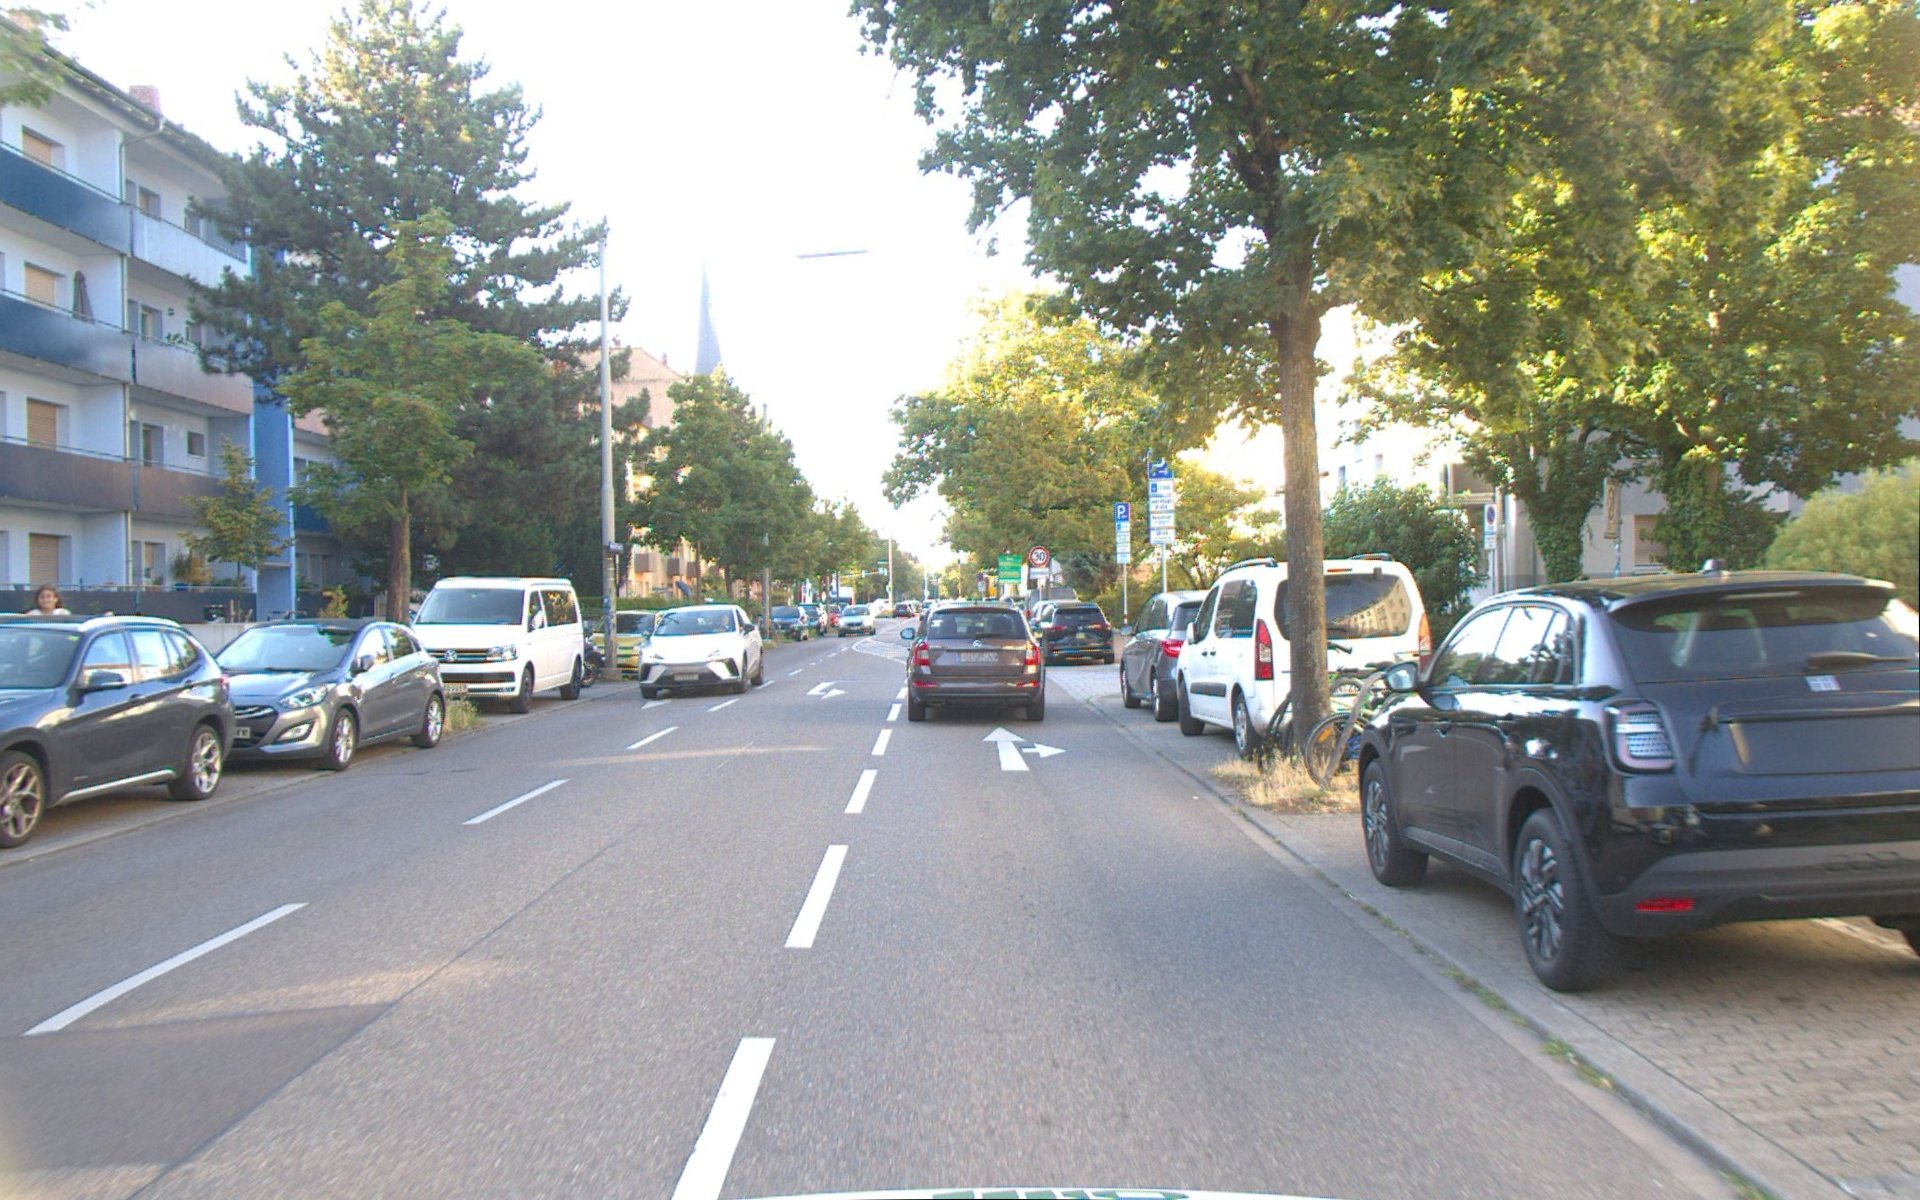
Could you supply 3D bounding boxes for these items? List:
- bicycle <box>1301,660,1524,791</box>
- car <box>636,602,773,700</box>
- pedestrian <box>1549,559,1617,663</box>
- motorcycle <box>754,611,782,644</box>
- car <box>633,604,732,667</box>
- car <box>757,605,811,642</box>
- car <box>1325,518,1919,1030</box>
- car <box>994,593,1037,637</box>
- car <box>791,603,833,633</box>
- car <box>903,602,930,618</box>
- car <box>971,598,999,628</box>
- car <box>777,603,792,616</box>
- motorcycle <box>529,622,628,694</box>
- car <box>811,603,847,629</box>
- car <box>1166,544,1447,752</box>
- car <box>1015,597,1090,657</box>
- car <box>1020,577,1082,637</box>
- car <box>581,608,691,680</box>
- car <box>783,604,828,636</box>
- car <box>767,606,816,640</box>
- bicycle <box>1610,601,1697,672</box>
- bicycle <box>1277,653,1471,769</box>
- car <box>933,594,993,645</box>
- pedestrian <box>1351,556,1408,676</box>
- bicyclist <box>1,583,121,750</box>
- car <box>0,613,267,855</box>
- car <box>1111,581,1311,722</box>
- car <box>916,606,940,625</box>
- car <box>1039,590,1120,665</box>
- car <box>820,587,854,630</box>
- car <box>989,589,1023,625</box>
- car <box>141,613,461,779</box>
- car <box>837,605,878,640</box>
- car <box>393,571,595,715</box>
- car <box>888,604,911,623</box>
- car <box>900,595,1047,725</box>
[{"bbox_3d":[3.317,0.912,12.162,1.521,0.884,0.393,-2,0,-4],"label":"bicycle"},{"bbox_3d":[-4.454,0.844,29.347,1.745,1.520,3.970,-3,0,0],"label":"car"},{"bbox_3d":[10.726,0.183,28.474,0.738,1.752,0.789,-2,0,-42],"label":"pedestrian"},{"bbox_3d":[-7.424,1.056,63.993,0.724,1.225,2.142,0,0,2],"label":"motorcycle"},{"bbox_3d":[-7.046,0.871,42.301,1.744,1.521,3.972,0,0,2],"label":"car"},{"bbox_3d":[-7.424,0.957,69.954,1.744,1.506,4.034,0,0,2],"label":"car"},{"bbox_3d":[3.028,0.580,7.740,1.718,1.691,4.252,-2,0,1],"label":"car"},{"bbox_3d":[2.282,0.598,68.353,1.718,1.745,4.000,0,0,1],"label":"car"},{"bbox_3d":[-7.872,0.941,88.165,1.744,1.506,3.972,0,0,2],"label":"car"},{"bbox_3d":[-4.881,1.114,184.843,1.963,1.780,3.979,-1,0,-18],"label":"car"},{"bbox_3d":[1.562,0.820,104.568,1.718,1.837,4.000,0,0,0],"label":"car"},{"bbox_3d":[-25.350,1.420,238.391,1.956,1.780,3.993,-1,0,-8],"label":"car"},{"bbox_3d":[-7.227,1.084,31.461,0.645,1.225,2.332,-2,0,20],"label":"motorcycle"},{"bbox_3d":[-7.795,0.943,98.637,1.744,1.506,3.972,0,0,2],"label":"car"},{"bbox_3d":[3.365,0.428,16.929,1.764,1.840,4.421,0,0,-3],"label":"car"},{"bbox_3d":[2.516,0.715,45.852,1.719,1.584,4.103,0,0,-2],"label":"car"},{"bbox_3d":[3.045,0.214,56.148,1.877,1.893,5.633,-1,0,1],"label":"car"},{"bbox_3d":[-7.177,0.942,36.997,1.585,1.506,3.872,0,0,2],"label":"car"},{"bbox_3d":[-7.675,0.980,82.469,1.744,1.506,3.972,0,0,2],"label":"car"},{"bbox_3d":[-7.718,1.031,76.029,1.744,1.506,3.972,0,0,2],"label":"car"},{"bbox_3d":[9.819,0.499,23.465,0.465,0.961,1.680,-2,0,-1],"label":"bicycle"},{"bbox_3d":[3.442,0.910,13.759,1.524,0.884,0.392,-2,0,-10],"label":"bicycle"},{"bbox_3d":[0.060,0.654,54.456,1.853,1.533,3.788,2,-1,-1],"label":"car"},{"bbox_3d":[6.846,0.254,27.023,0.781,1.893,0.951,-2,0,10],"label":"pedestrian"},{"bbox_3d":[-9.038,0.651,16.660,0.590,1.621,0.940,-2,0,7],"label":"bicyclist"},{"bbox_3d":[-7.159,0.921,12.755,1.637,1.570,4.474,-1,0,1],"label":"car"},{"bbox_3d":[3.166,0.604,21.683,1.719,1.584,4.250,-3,0,-3],"label":"car"},{"bbox_3d":[-2.584,1.251,132.783,1.745,1.506,3.968,0,0,-4],"label":"car"},{"bbox_3d":[2.810,0.628,39.761,1.718,1.716,4.252,0,0,1],"label":"car"},{"bbox_3d":[-8.248,0.547,111.199,1.951,2.830,5.502,0,0,-1],"label":"car"},{"bbox_3d":[2.414,0.364,87.506,1.718,1.837,4.000,0,0,1],"label":"car"},{"bbox_3d":[-6.888,0.934,17.785,1.657,1.509,4.144,-1,0,2],"label":"car"},{"bbox_3d":[-4.974,1.064,81.005,1.704,1.505,4.308,-4,0,-1],"label":"car"},{"bbox_3d":[-7.306,0.624,26.519,1.831,2.067,5.299,0,0,-1],"label":"car"},{"bbox_3d":[-5.922,1.336,161.088,1.955,1.780,3.995,-1,0,-6],"label":"car"},{"bbox_3d":[0.197,0.709,21.407,1.718,1.518,4.000,0,0,1],"label":"car"}]
